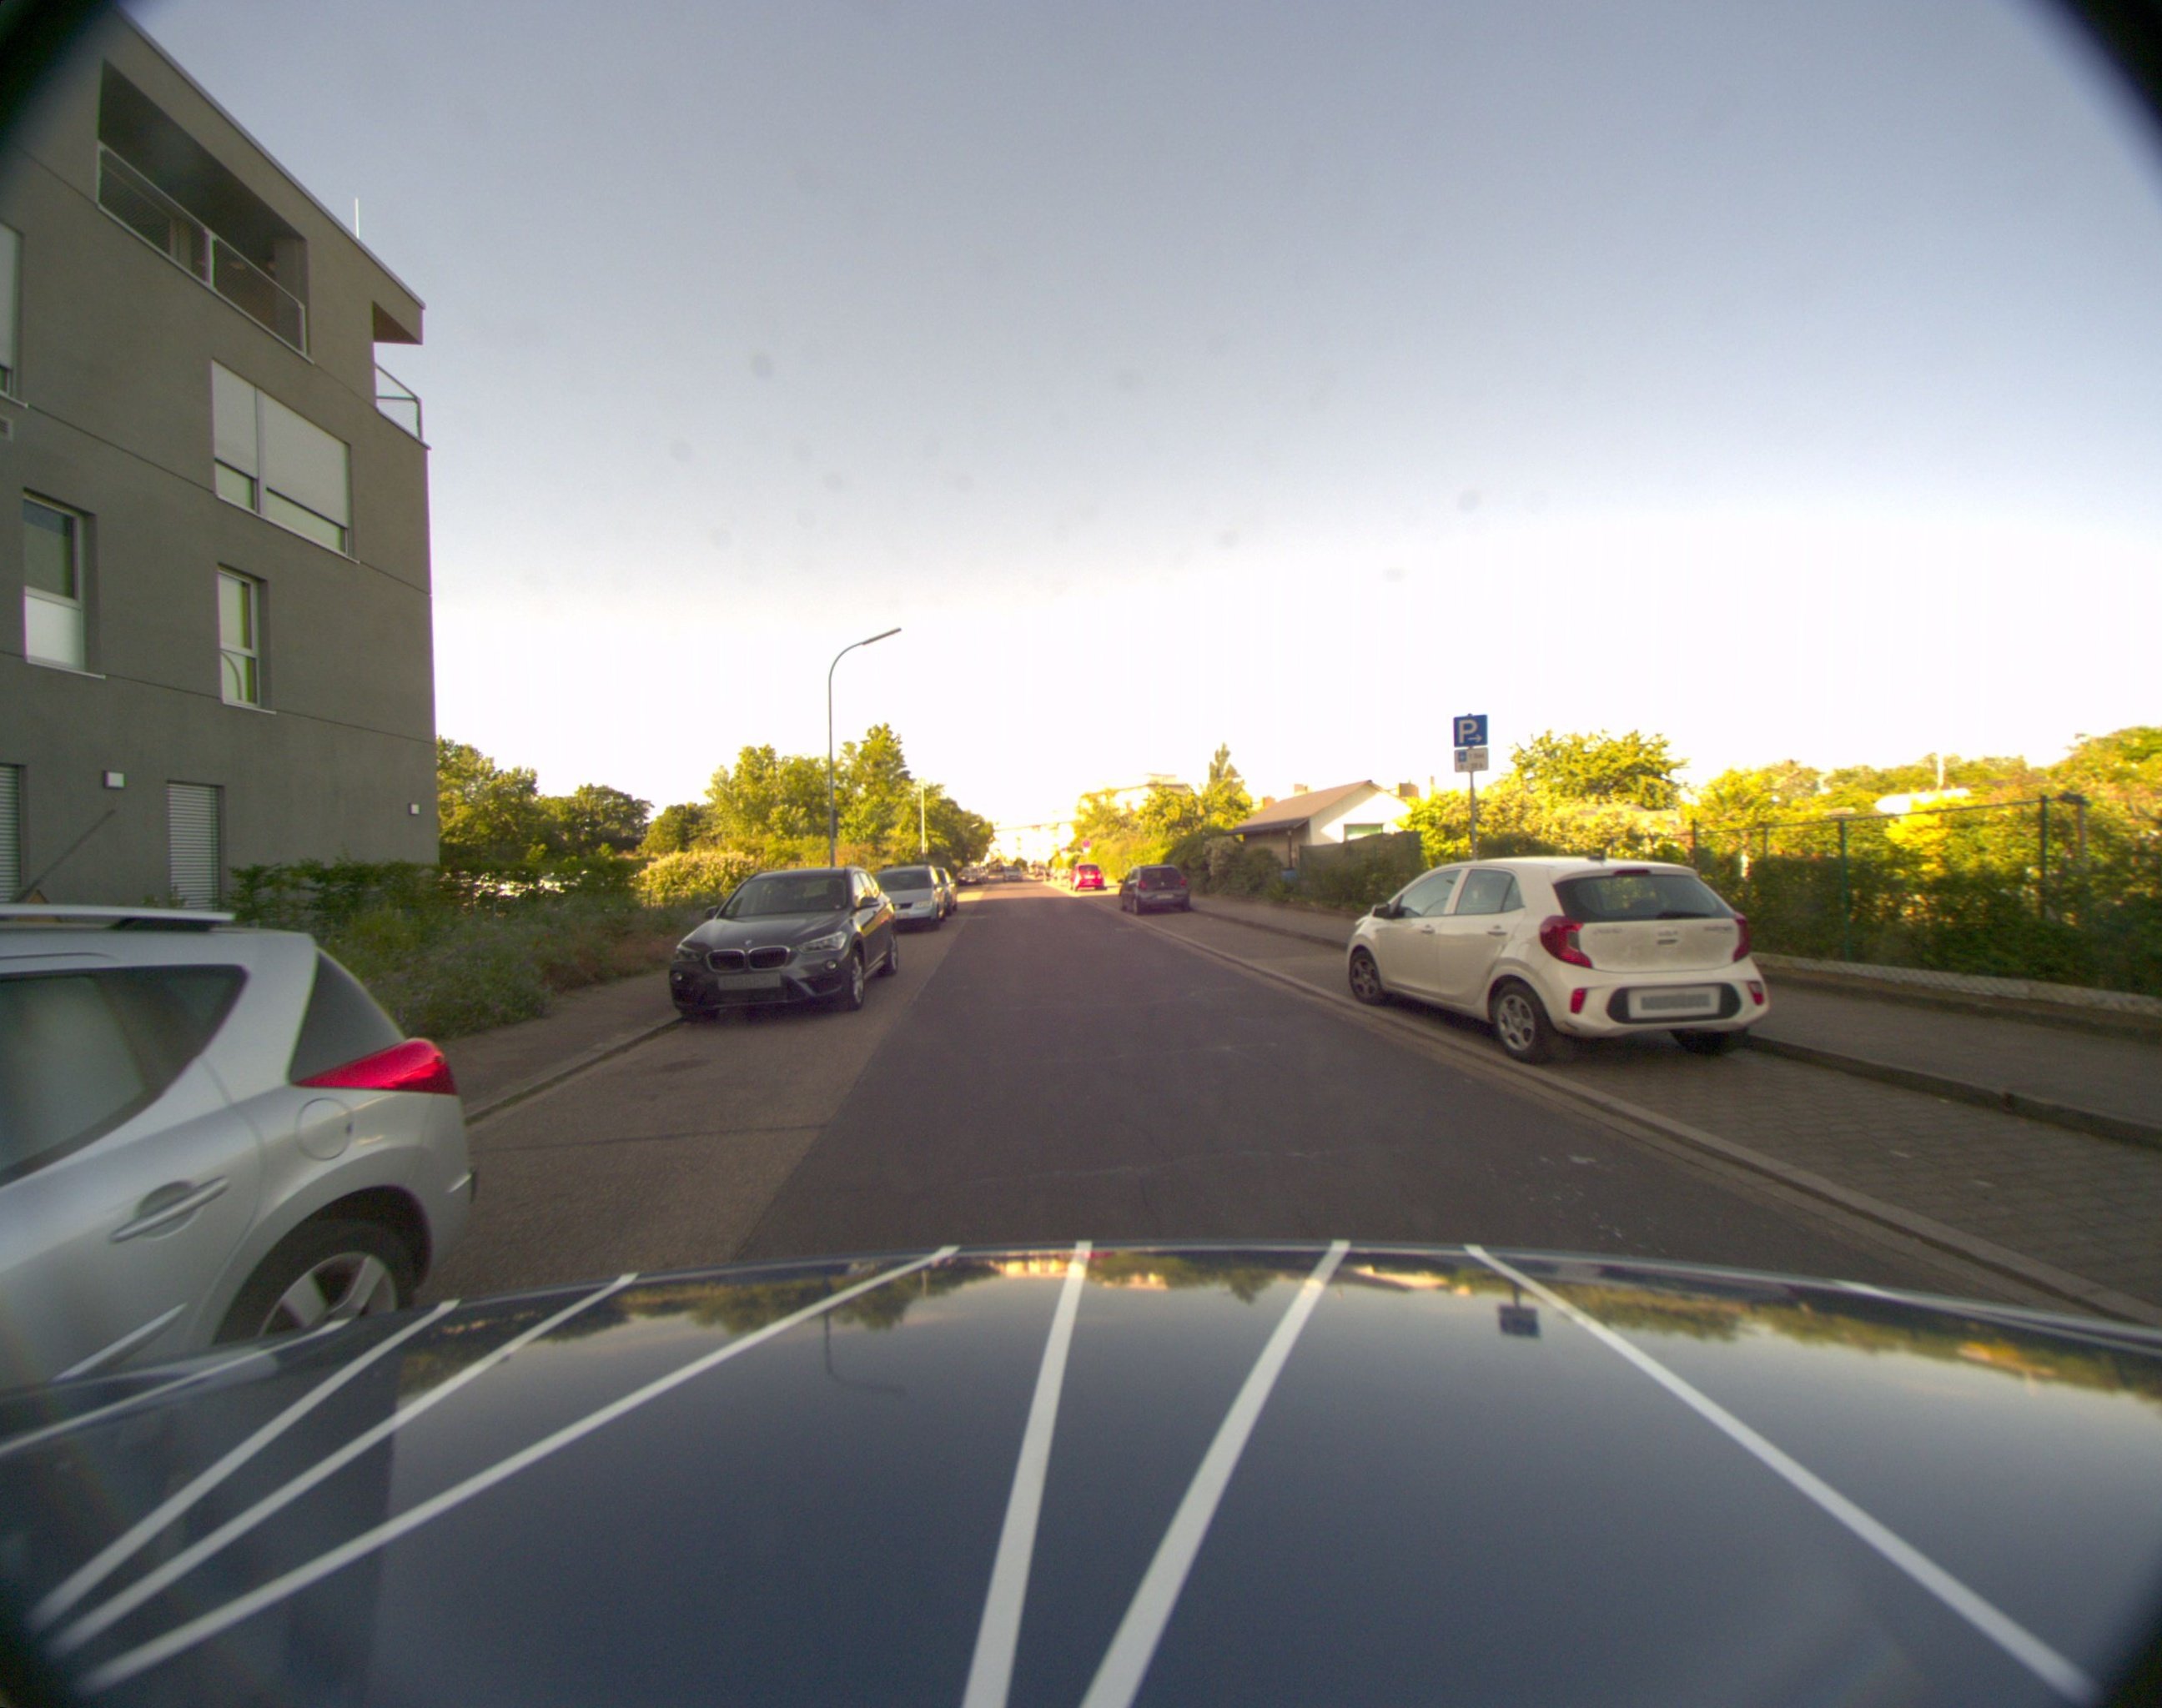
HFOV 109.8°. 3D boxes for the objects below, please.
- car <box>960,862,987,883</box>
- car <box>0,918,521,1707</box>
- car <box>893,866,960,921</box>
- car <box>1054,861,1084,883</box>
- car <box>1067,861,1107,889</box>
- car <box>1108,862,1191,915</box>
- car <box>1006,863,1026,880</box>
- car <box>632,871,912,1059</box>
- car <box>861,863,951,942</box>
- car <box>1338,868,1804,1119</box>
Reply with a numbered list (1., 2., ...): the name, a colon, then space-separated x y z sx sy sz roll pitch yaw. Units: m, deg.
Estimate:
1. car: -8.378 1.384 59.570 1.874 1.517 4.153 -2 0 -5
2. car: -2.739 1.029 0.581 1.712 1.517 4.153 -4 0 -5
3. car: -4.937 1.223 24.637 1.712 1.517 3.091 -4 0 -5
4. car: -0.854 1.211 51.837 1.701 1.361 3.908 -1 0 -6
5. car: 0.273 1.121 42.025 1.701 1.421 4.384 -1 0 -6
6. car: 2.050 1.008 24.127 1.701 1.415 4.515 -4 0 -6
7. car: -5.959 1.545 69.318 1.680 1.440 3.998 -1 0 -6
8. car: -3.404 1.085 9.492 1.750 1.557 4.801 -3 0 -4
9. car: -4.420 1.138 19.772 1.712 1.695 4.347 -4 0 -7
10. car: 3.712 0.906 6.513 1.532 1.479 3.400 -2 0 -6
